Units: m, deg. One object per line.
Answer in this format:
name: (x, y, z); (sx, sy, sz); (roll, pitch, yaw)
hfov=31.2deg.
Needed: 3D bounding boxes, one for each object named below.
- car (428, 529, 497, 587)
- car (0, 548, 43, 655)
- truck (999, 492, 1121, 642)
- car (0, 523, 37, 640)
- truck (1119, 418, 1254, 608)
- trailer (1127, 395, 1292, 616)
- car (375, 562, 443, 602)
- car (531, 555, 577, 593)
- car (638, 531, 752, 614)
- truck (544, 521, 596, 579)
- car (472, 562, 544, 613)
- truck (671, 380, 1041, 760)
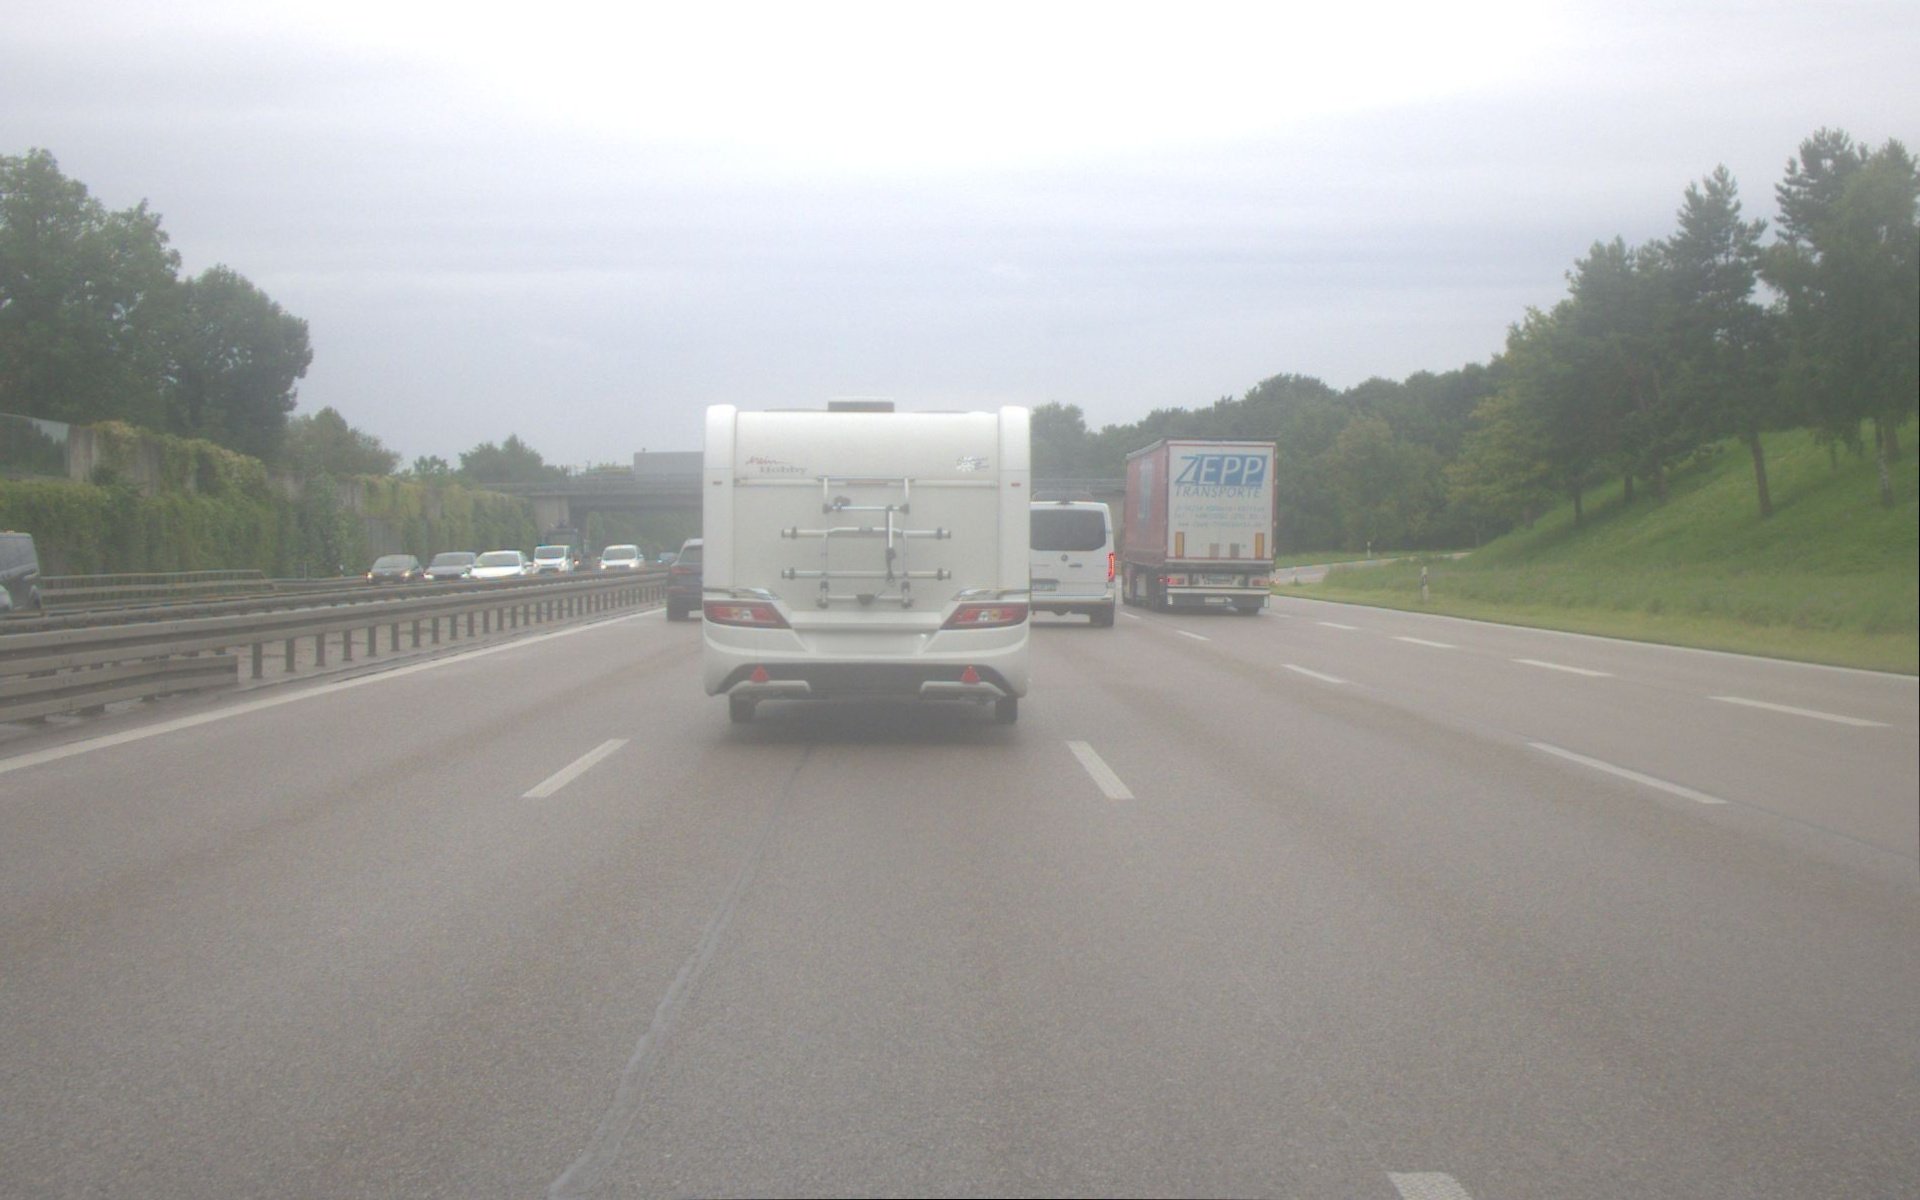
car: (-17.510, -1.496, 121.134); (1.932, 2.007, 4.733); (0, 1, -2)
car: (-13.069, 0.003, 43.207); (1.993, 1.351, 4.224); (1, 1, -1)
truck: (1.898, -0.641, 66.890); (2.053, 2.760, 5.549); (1, 1, -1)
car: (-17.167, -0.325, 56.730); (2.209, 1.965, 6.271); (1, 1, -1)
truck: (5.943, -2.255, 91.093); (3.048, 4.823, 5.850); (1, 0, -1)
trailer: (5.911, -2.190, 83.406); (3.100, 4.905, 11.790); (1, 1, 0)
car: (-22.267, -0.750, 139.049); (1.956, 1.547, 4.521); (1, 1, 1)
car: (-22.038, -1.444, 186.911); (1.993, 2.007, 4.957); (1, 1, -1)
car: (-5.331, -0.565, 69.741); (1.993, 1.594, 5.124); (1, 1, -1)
truck: (-25.750, -3.288, 227.056); (2.691, 3.764, 8.338); (1, 1, -2)
car: (-13.974, -0.403, 106.487); (1.601, 1.402, 4.765); (-4, 1, -1)
truck: (-0.814, -0.245, 27.719); (2.661, 2.733, 5.078); (1, 1, -1)
